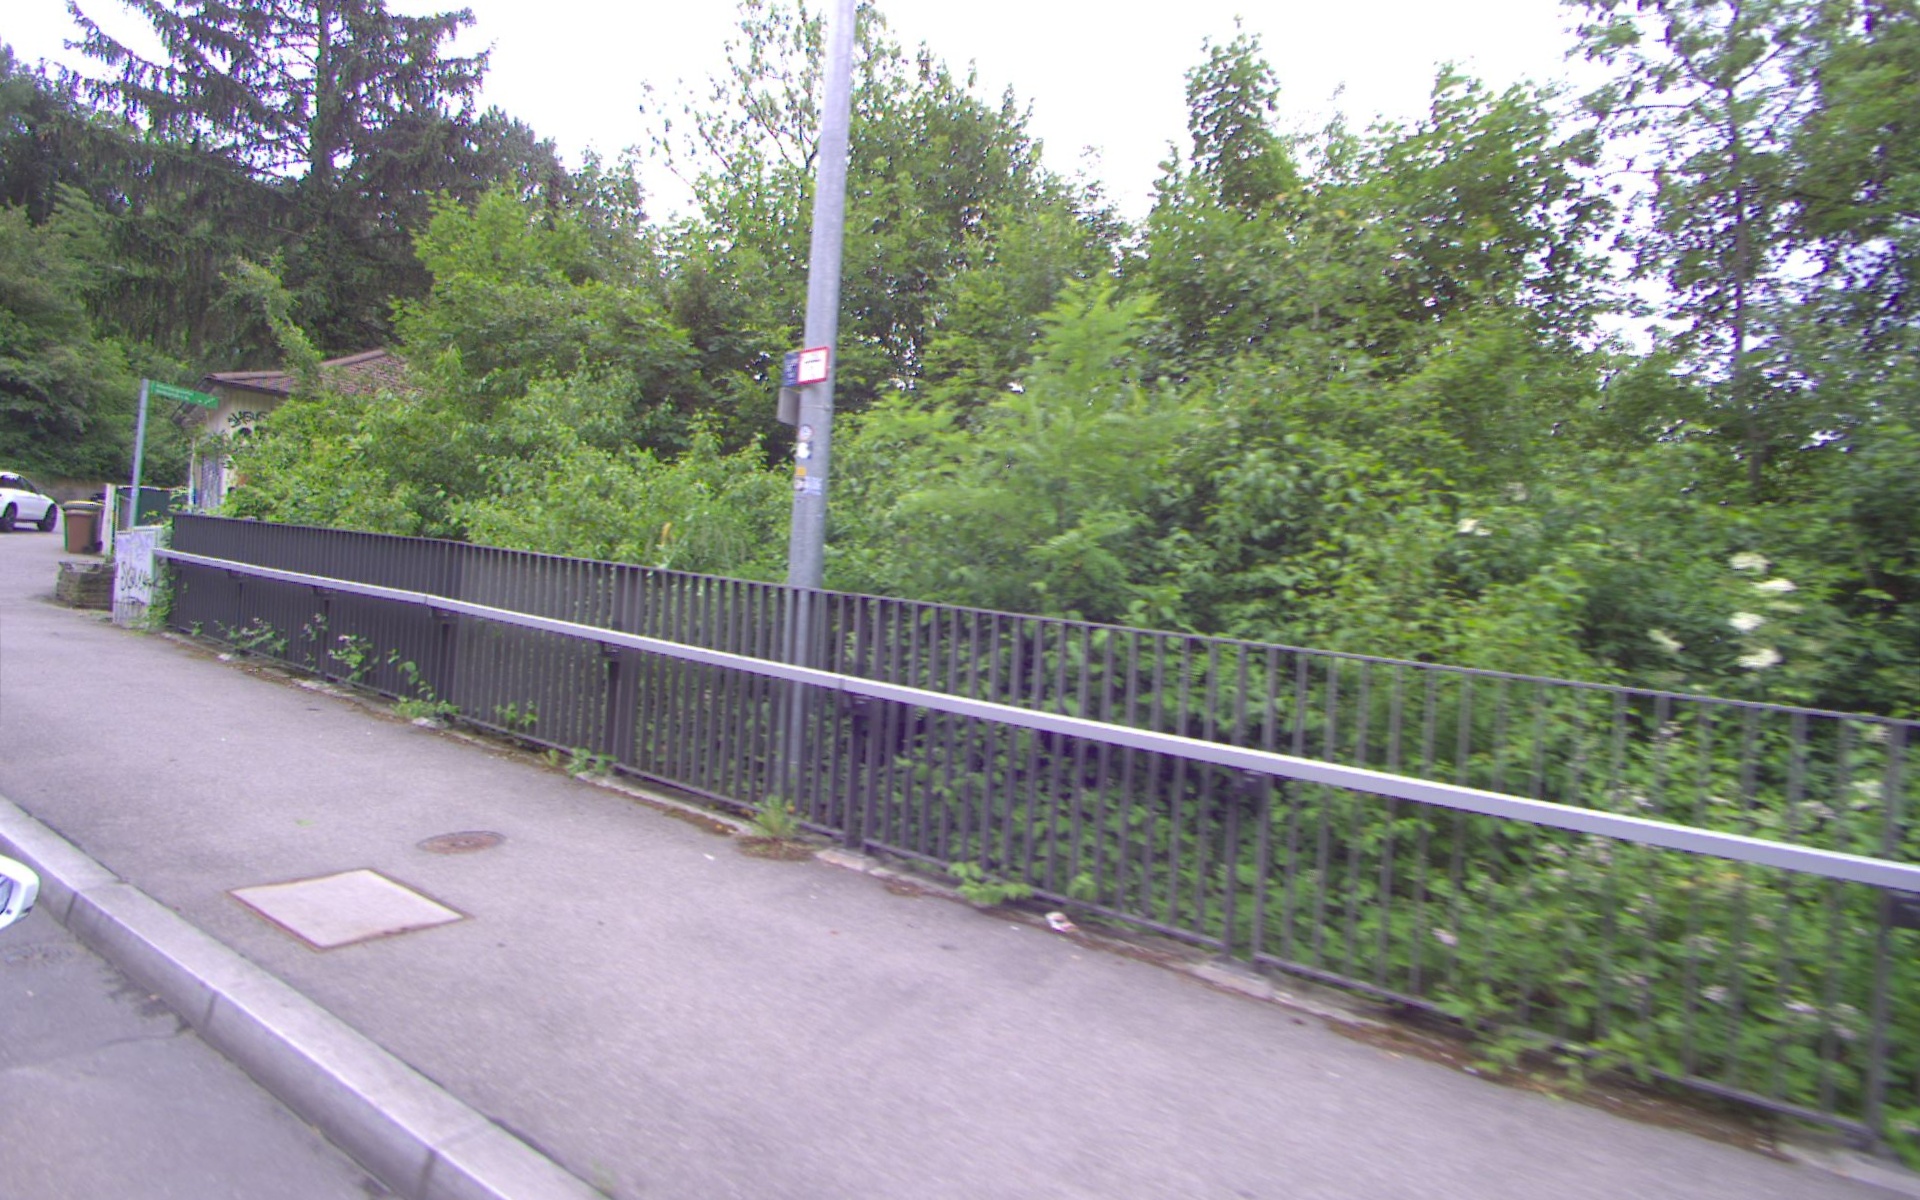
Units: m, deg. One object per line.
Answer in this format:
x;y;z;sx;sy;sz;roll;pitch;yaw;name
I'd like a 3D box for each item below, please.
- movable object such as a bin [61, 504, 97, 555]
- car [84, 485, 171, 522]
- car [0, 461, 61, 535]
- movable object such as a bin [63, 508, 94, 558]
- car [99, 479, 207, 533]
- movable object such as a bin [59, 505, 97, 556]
-19.981;-1.601;22.820;0.600;1.076;0.474;1;6;-40;movable object such as a bin
-46.770;-5.405;56.647;1.882;1.504;3.992;7;0;-9;car
-27.129;-2.934;27.964;1.977;1.865;4.123;8;-2;-27;car
-19.246;-1.464;21.969;0.497;1.023;0.434;1;6;-40;movable object such as a bin
-36.899;-4.269;46.155;1.716;1.534;4.312;7;-5;-8;car
-19.620;-1.544;22.383;0.600;1.076;0.474;1;6;-40;movable object such as a bin
